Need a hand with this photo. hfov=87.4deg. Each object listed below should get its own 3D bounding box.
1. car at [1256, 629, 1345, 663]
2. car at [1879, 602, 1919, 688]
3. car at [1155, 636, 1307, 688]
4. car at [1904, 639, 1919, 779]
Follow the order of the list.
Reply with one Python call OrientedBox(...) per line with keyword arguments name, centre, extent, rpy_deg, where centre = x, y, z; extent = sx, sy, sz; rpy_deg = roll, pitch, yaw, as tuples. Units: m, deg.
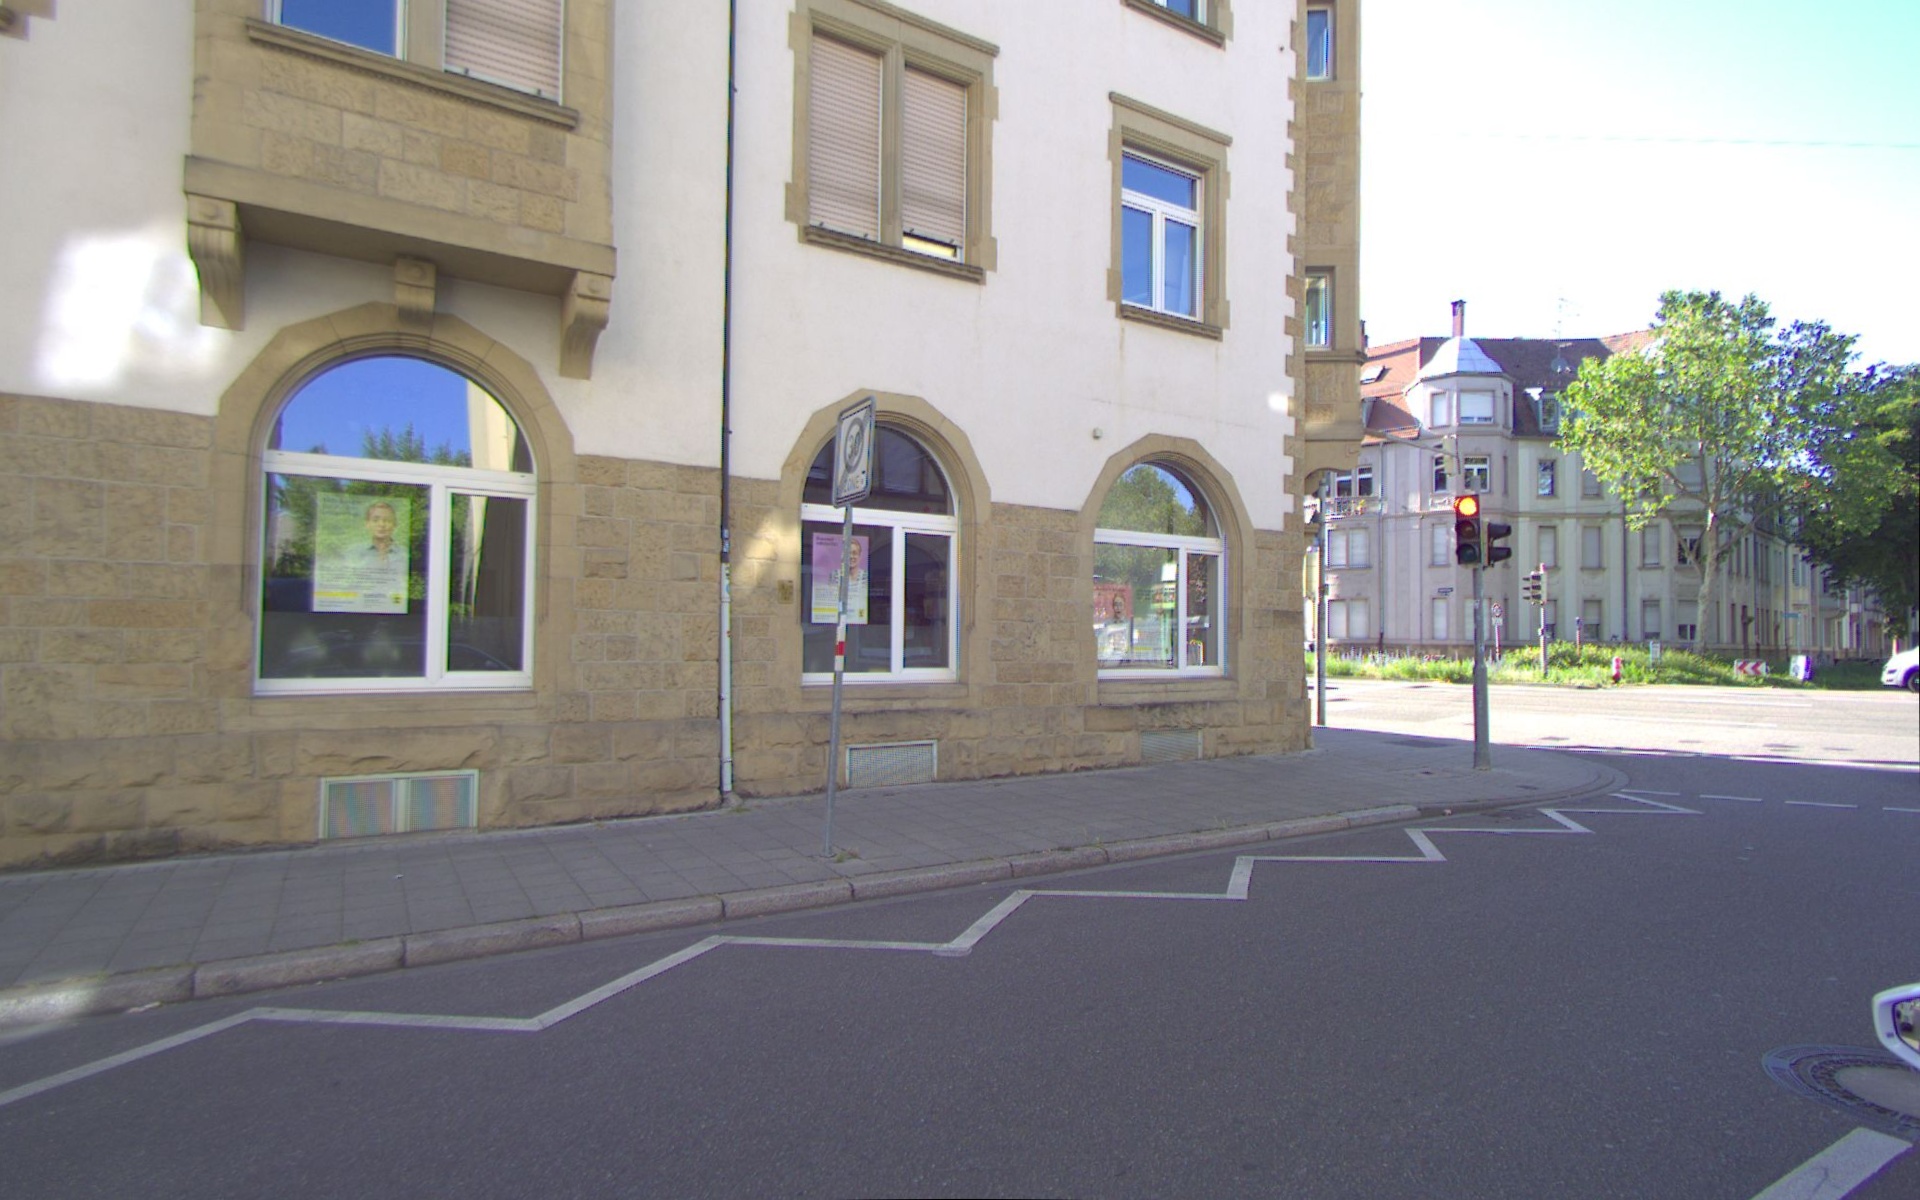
OrientedBox(name="car", centre=(15.817, 2.111, 46.710), extent=(3.591, 1.476, 1.649), rpy_deg=(-1, -2, 42))
OrientedBox(name="car", centre=(31.970, 1.394, 30.405), extent=(6.040, 2.672, 1.886), rpy_deg=(-1, -2, 42))
OrientedBox(name="car", centre=(8.161, 1.831, 30.460), extent=(4.155, 1.476, 1.669), rpy_deg=(-2, -2, 42))
OrientedBox(name="car", centre=(11.959, 1.182, 11.057), extent=(3.608, 1.476, 1.641), rpy_deg=(2, -2, -36))
